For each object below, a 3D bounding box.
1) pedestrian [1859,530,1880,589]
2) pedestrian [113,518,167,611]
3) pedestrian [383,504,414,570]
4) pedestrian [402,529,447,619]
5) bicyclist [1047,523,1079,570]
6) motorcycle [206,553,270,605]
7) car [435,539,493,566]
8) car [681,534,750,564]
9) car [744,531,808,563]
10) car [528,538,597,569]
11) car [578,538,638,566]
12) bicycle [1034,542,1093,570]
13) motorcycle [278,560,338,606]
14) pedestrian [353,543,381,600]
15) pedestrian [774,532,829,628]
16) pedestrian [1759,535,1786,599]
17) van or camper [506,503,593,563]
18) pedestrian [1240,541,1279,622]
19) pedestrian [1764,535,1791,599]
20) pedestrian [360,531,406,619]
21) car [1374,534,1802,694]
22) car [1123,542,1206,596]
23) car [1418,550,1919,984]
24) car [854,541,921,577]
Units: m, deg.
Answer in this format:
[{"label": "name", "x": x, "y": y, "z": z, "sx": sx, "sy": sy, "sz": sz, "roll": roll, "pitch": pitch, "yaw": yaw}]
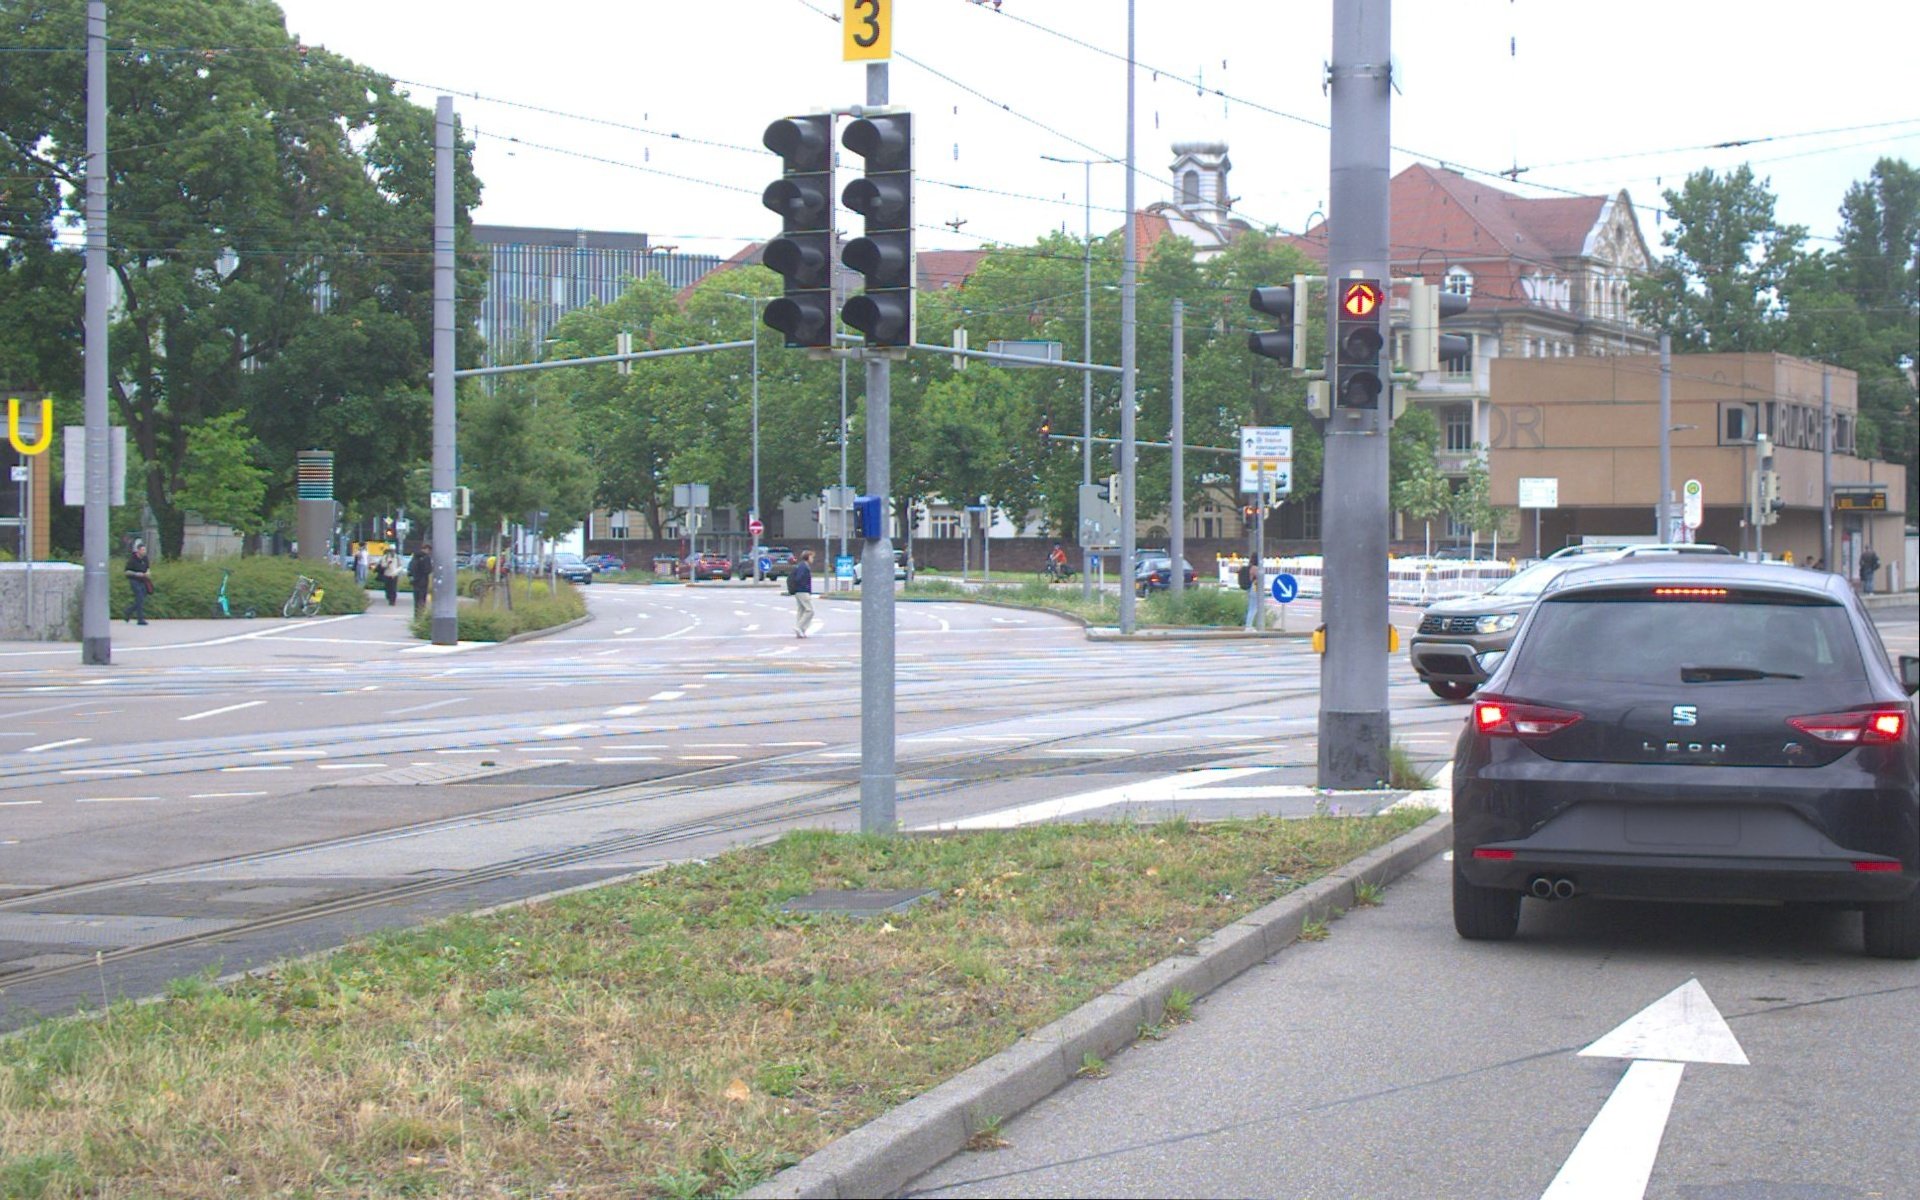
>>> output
[{"label": "pedestrian", "x": 29.501, "y": -1.310, "z": 111.510, "sx": 0.622, "sy": 1.911, "sz": 0.710, "roll": 0, "pitch": 1, "yaw": 18}, {"label": "pedestrian", "x": -17.916, "y": -0.780, "z": 75.134, "sx": 1.020, "sy": 2.007, "sz": 0.846, "roll": 0, "pitch": 1, "yaw": -4}, {"label": "pedestrian", "x": -16.946, "y": -1.894, "z": 103.756, "sx": 0.793, "sy": 1.975, "sz": 0.881, "roll": 0, "pitch": 0, "yaw": -20}, {"label": "pedestrian", "x": -12.033, "y": -0.581, "z": 77.235, "sx": 0.928, "sy": 2.007, "sz": 1.012, "roll": 0, "pitch": 0, "yaw": -5}, {"label": "bicyclist", "x": 4.448, "y": -2.323, "z": 148.516, "sx": 0.940, "sy": 2.007, "sz": 0.976, "roll": 1, "pitch": 1, "yaw": 44}, {"label": "motorcycle", "x": -17.738, "y": -0.514, "z": 84.480, "sx": 1.467, "sy": 1.263, "sz": 0.512, "roll": 0, "pitch": 1, "yaw": -31}, {"label": "car", "x": -27.718, "y": -2.660, "z": 191.989, "sx": 1.776, "sy": 1.459, "sz": 4.000, "roll": 0, "pitch": 2, "yaw": -31}, {"label": "car", "x": -12.103, "y": -2.532, "z": 170.121, "sx": 1.776, "sy": 1.459, "sz": 4.000, "roll": 0, "pitch": 2, "yaw": -31}, {"label": "car", "x": -8.770, "y": -2.552, "z": 163.601, "sx": 1.775, "sy": 1.459, "sz": 4.001, "roll": 0, "pitch": 2, "yaw": -23}, {"label": "car", "x": -18.790, "y": -2.212, "z": 162.455, "sx": 1.776, "sy": 1.459, "sz": 4.000, "roll": 0, "pitch": 1, "yaw": -31}, {"label": "car", "x": -18.944, "y": -2.586, "z": 184.981, "sx": 1.776, "sy": 1.459, "sz": 4.000, "roll": 0, "pitch": 1, "yaw": -29}, {"label": "bicycle", "x": 4.481, "y": -1.906, "z": 148.539, "sx": 0.942, "sy": 1.175, "sz": 2.722, "roll": 1, "pitch": 1, "yaw": 44}, {"label": "motorcycle", "x": -16.320, "y": -0.432, "z": 86.090, "sx": 0.511, "sy": 1.107, "sz": 1.742, "roll": 1, "pitch": 1, "yaw": 28}, {"label": "pedestrian", "x": -20.777, "y": -1.007, "z": 120.482, "sx": 0.878, "sy": 1.975, "sz": 0.796, "roll": 0, "pitch": 0, "yaw": -3}, {"label": "pedestrian", "x": -3.240, "y": -0.413, "z": 70.131, "sx": 1.027, "sy": 1.927, "sz": 0.701, "roll": 0, "pitch": 1, "yaw": -10}, {"label": "pedestrian", "x": 24.106, "y": -0.983, "z": 101.994, "sx": 0.709, "sy": 1.911, "sz": 0.622, "roll": 0, "pitch": 1, "yaw": 22}, {"label": "van or camper", "x": -21.942, "y": -3.574, "z": 183.417, "sx": 2.388, "sy": 3.113, "sz": 5.503, "roll": -1, "pitch": 1, "yaw": -33}, {"label": "pedestrian", "x": 5.761, "y": -0.359, "z": 66.195, "sx": 0.727, "sy": 1.536, "sz": 0.417, "roll": 0, "pitch": 1, "yaw": 3}, {"label": "pedestrian", "x": 24.433, "y": -0.979, "z": 102.729, "sx": 0.709, "sy": 1.911, "sz": 0.622, "roll": 0, "pitch": 1, "yaw": 22}, {"label": "pedestrian", "x": -12.909, "y": -0.560, "z": 76.911, "sx": 0.929, "sy": 1.941, "sz": 0.913, "roll": 0, "pitch": 1, "yaw": -4}, {"label": "car", "x": 6.738, "y": 0.121, "z": 36.872, "sx": 4.215, "sy": 1.634, "sz": 1.804, "roll": 0, "pitch": 1, "yaw": -24}, {"label": "car", "x": 6.544, "y": -0.984, "z": 110.361, "sx": 1.993, "sy": 1.678, "sz": 4.001, "roll": 0, "pitch": 0, "yaw": -7}, {"label": "car", "x": 2.862, "y": 0.535, "z": 13.699, "sx": 1.705, "sy": 1.444, "sz": 3.810, "roll": 1, "pitch": 1, "yaw": 13}, {"label": "car", "x": -3.102, "y": -1.779, "z": 147.124, "sx": 1.775, "sy": 1.459, "sz": 4.001, "roll": 0, "pitch": 2, "yaw": -18}]
